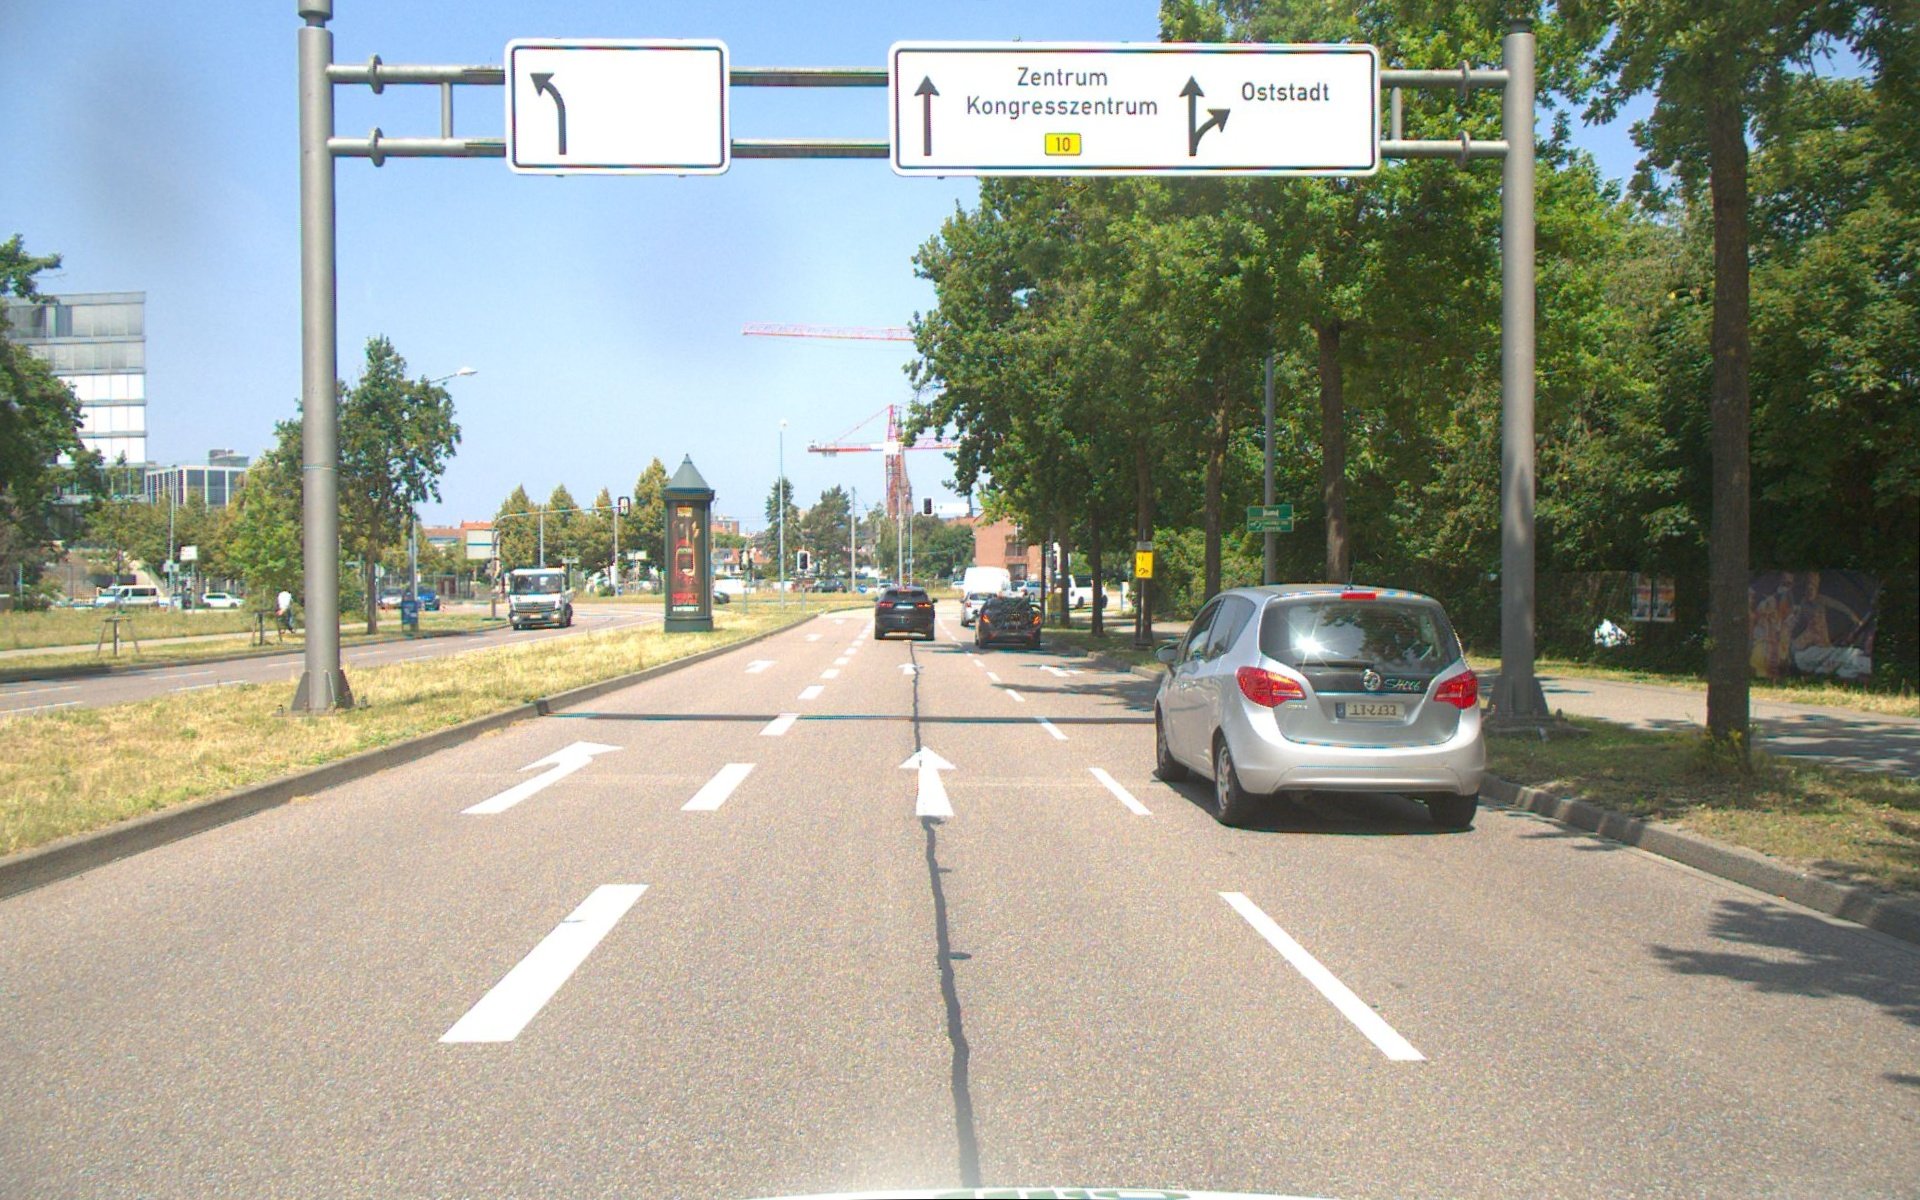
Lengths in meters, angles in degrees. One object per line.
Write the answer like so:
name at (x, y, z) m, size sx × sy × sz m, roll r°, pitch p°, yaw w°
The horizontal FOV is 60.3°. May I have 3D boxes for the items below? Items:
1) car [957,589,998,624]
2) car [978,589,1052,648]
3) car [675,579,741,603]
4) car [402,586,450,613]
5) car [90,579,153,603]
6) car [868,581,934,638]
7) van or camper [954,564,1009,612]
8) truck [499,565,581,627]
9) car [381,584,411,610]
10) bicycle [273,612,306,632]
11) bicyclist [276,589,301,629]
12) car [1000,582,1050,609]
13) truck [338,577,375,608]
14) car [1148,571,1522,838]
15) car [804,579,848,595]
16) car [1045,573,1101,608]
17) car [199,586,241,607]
car at (0.717, 0.266, 70.157) m, size 1.621 × 1.380 × 4.460 m, roll -1°, pitch 1°, yaw -1°
car at (1.517, 0.496, 47.119) m, size 1.973 × 1.543 × 4.461 m, roll -1°, pitch 1°, yaw 0°
car at (-16.208, -0.607, 106.515) m, size 3.906 × 1.478 × 2.000 m, roll -1°, pitch 0°, yaw -1°
car at (-32.638, -0.040, 101.050) m, size 1.973 × 1.624 × 3.959 m, roll -1°, pitch 1°, yaw -30°
car at (-70.055, -0.771, 138.170) m, size 1.959 × 1.911 × 4.276 m, roll -1°, pitch 1°, yaw 34°
car at (-1.844, 0.261, 52.826) m, size 1.957 × 1.719 × 4.033 m, roll 0°, pitch 1°, yaw -1°
van or camper at (1.138, -0.617, 84.375) m, size 2.441 × 2.331 × 4.924 m, roll -1°, pitch 1°, yaw 5°
truck at (-18.675, -0.197, 73.867) m, size 2.588 × 2.621 × 6.310 m, roll -1°, pitch 1°, yaw -6°
car at (-41.966, -0.228, 123.014) m, size 1.964 × 1.847 × 3.977 m, roll -1°, pitch 1°, yaw -20°
bicycle at (-25.921, 0.846, 63.993) m, size 0.471 × 0.728 × 1.850 m, roll -1°, pitch 1°, yaw 1°
bicyclist at (-25.944, 0.352, 63.883) m, size 0.610 × 1.515 × 0.757 m, roll -1°, pitch 0°, yaw 1°
car at (4.371, -0.312, 110.823) m, size 1.826 × 1.780 × 3.996 m, roll -1°, pitch 1°, yaw 26°
truck at (-55.305, -0.702, 151.487) m, size 1.977 × 2.787 × 4.972 m, roll -1°, pitch 1°, yaw -35°
car at (2.550, 0.621, 12.198) m, size 1.756 × 1.640 × 3.889 m, roll 0°, pitch 1°, yaw -2°
car at (-12.790, -1.243, 158.012) m, size 3.902 × 1.489 × 2.001 m, roll -1°, pitch 0°, yaw 5°
car at (6.737, -0.577, 98.233) m, size 1.954 × 2.049 × 3.997 m, roll -1°, pitch 1°, yaw 26°
car at (-78.052, -0.373, 174.544) m, size 3.932 × 1.848 × 1.986 m, roll -1°, pitch -7°, yaw -23°
